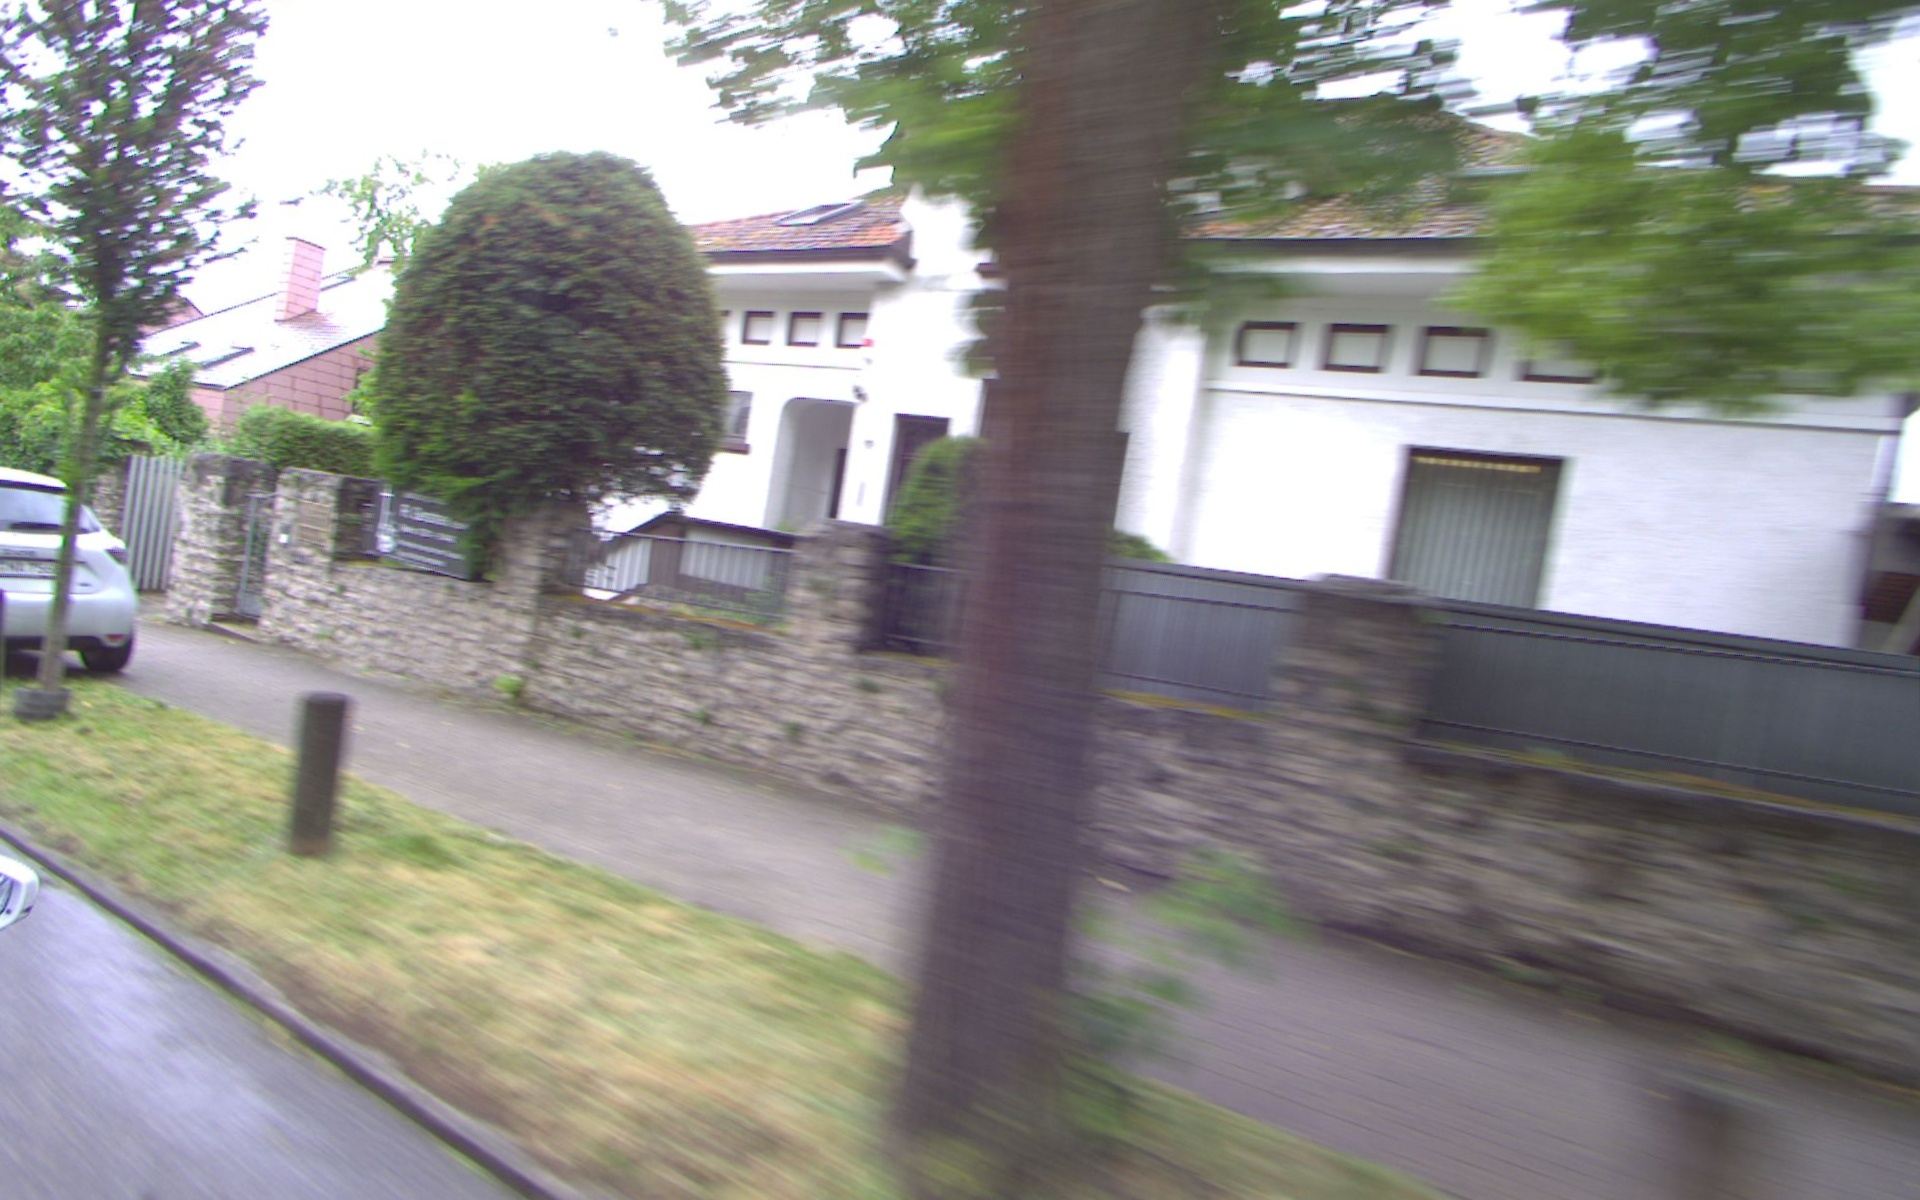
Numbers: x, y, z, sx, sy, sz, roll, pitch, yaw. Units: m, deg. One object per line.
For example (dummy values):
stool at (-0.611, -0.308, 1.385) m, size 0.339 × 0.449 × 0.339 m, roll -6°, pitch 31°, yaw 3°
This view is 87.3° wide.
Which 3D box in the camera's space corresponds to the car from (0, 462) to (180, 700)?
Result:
car at (-8.333, -0.337, 8.123) m, size 3.932 × 1.652 × 1.825 m, roll 8°, pitch 3°, yaw 30°
